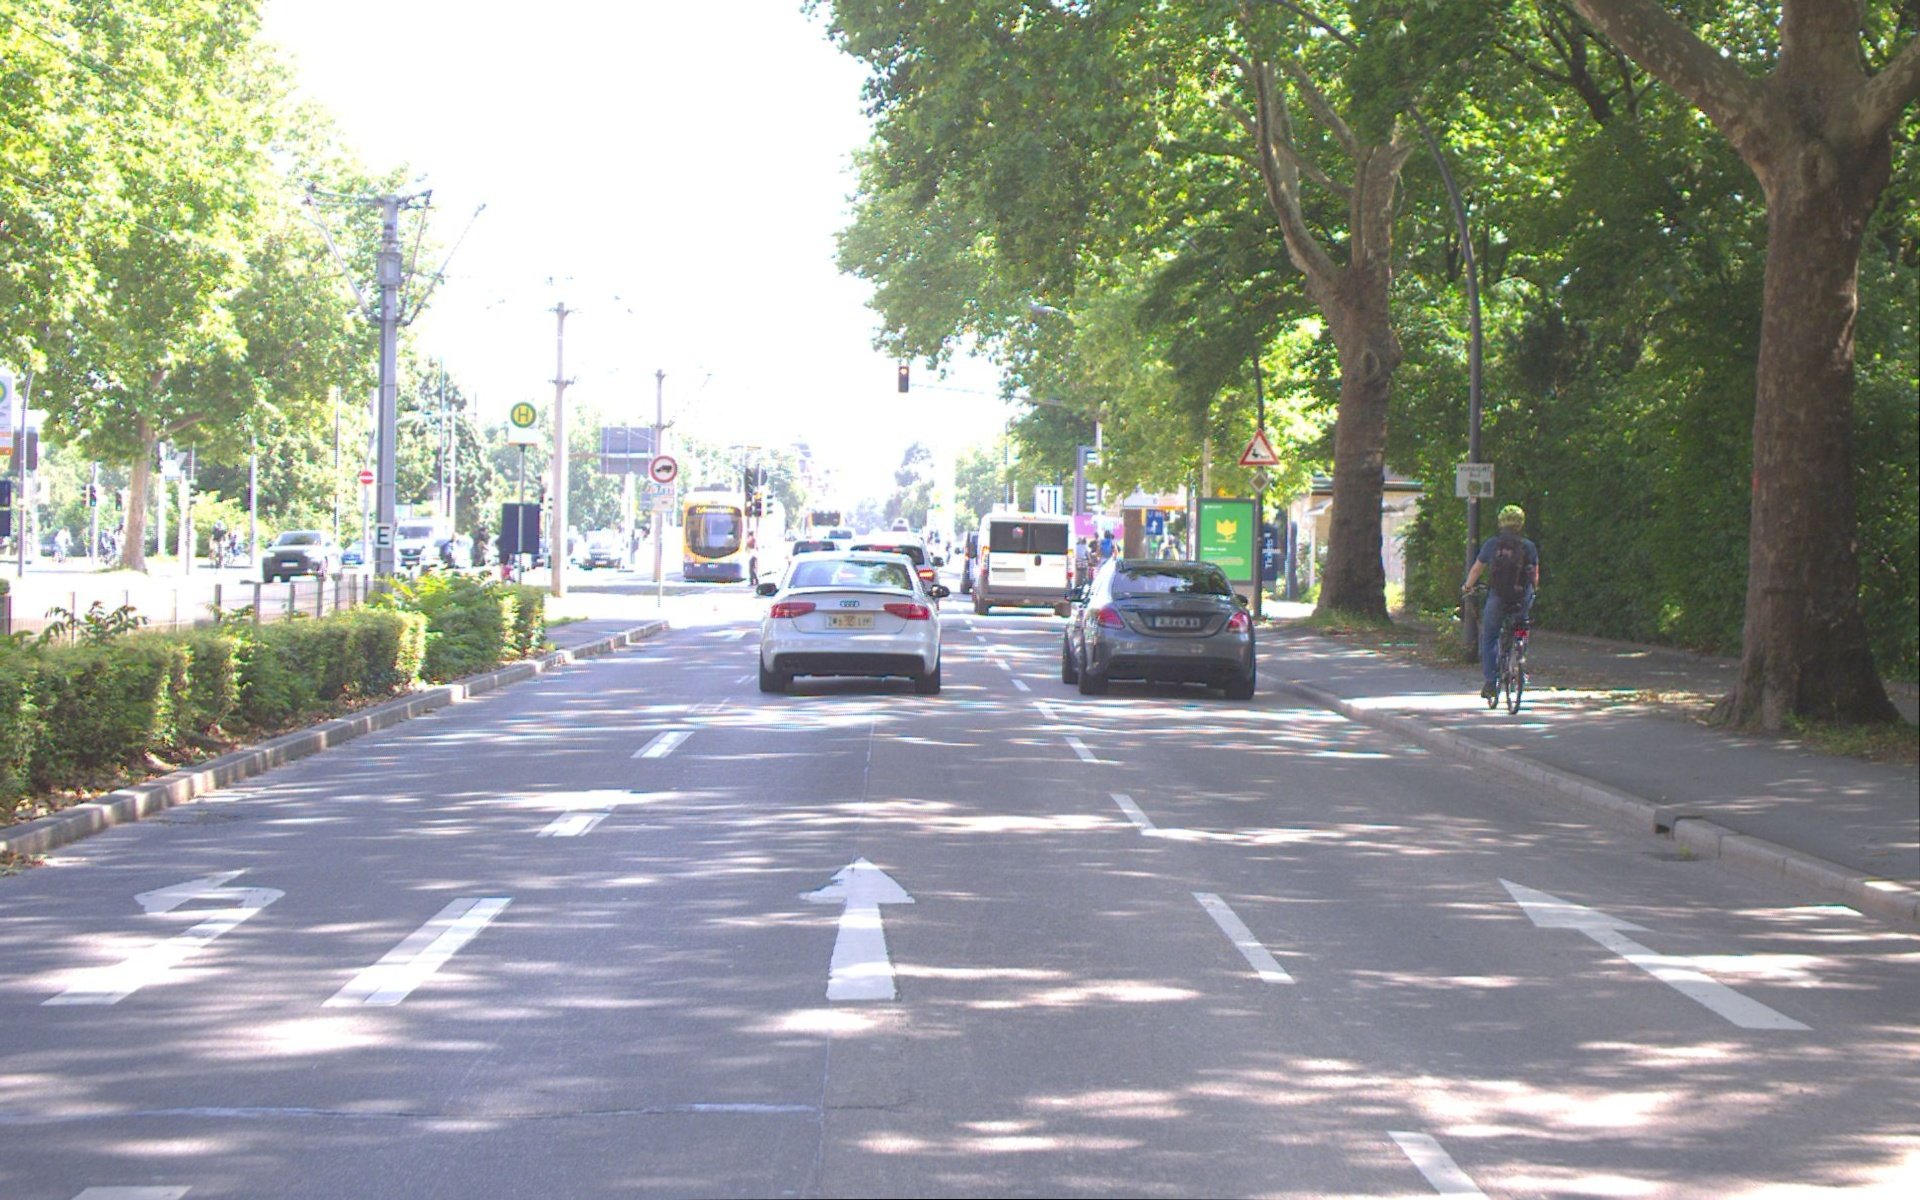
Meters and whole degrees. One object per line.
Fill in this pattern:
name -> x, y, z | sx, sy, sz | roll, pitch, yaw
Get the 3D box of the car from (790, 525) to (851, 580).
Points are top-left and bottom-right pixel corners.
car -> -4.292, -1.465, 106.213 | 1.729, 1.625, 4.000 | 1, 1, 0

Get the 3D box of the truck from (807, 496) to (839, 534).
truck -> -10.471, -6.479, 263.278 | 1.993, 2.780, 8.519 | 1, 1, 0

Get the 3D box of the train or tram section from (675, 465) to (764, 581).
train or tram section -> -8.699, -2.772, 124.968 | 2.616, 4.001, 7.749 | 1, 1, 0

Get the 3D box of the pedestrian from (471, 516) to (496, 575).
pedestrian -> -13.414, -1.544, 96.717 | 0.593, 1.641, 0.554 | 1, 1, 0

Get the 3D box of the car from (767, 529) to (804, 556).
car -> -10.652, -3.503, 210.125 | 1.871, 1.603, 4.000 | 2, 1, 2

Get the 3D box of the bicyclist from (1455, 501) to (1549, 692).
bicyclist -> 4.824, -0.045, 30.631 | 0.634, 1.642, 0.979 | -1, 2, -1

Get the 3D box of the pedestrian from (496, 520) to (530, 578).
pedestrian -> -13.431, -1.533, 103.323 | 0.775, 1.728, 0.754 | 2, 1, 8

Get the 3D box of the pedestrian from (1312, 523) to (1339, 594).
pedestrian -> 9.883, -1.124, 92.933 | 0.613, 1.890, 0.597 | 1, 1, -3

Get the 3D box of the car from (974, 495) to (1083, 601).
car -> 1.469, -1.148, 75.644 | 2.230, 2.204, 4.162 | 1, 1, 0

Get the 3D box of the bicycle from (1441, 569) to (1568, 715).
bicycle -> 4.843, 0.348, 30.695 | 0.714, 1.144, 2.179 | -1, 3, -1

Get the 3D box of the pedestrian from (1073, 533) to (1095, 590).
pedestrian -> 3.731, -1.168, 103.582 | 0.602, 1.689, 0.953 | -1, 1, 0

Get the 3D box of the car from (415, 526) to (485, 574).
car -> -17.593, -1.737, 118.769 | 1.810, 1.557, 4.305 | 1, 1, -1

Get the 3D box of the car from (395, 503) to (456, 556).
car -> -24.470, -3.219, 157.440 | 2.114, 2.374, 4.000 | 1, 1, 0

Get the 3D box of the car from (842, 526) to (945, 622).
car -> -1.156, -0.480, 60.828 | 1.729, 1.599, 3.885 | 1, 1, 0

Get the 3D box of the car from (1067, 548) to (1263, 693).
car -> 2.129, 0.175, 36.704 | 1.782, 1.415, 4.000 | 1, 1, 0

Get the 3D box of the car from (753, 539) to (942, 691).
car -> -1.103, 0.112, 35.030 | 1.784, 1.416, 3.885 | 1, 1, 0

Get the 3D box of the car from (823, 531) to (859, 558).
car -> -7.249, -3.408, 210.104 | 1.871, 1.603, 4.000 | 2, 1, 2

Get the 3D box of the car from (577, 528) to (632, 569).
car -> -15.816, -2.297, 152.963 | 1.993, 1.728, 4.000 | 2, 1, 0

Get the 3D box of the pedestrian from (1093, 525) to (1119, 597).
pedestrian -> 4.001, -1.079, 94.285 | 0.635, 1.939, 0.719 | 1, 1, 0

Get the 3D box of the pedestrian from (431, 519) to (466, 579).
pedestrian -> -13.804, -1.379, 92.786 | 0.757, 1.617, 0.595 | 1, 1, -26

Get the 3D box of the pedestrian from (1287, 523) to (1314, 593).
pedestrian -> 9.204, -1.135, 92.978 | 0.613, 1.890, 0.694 | 1, 1, -3

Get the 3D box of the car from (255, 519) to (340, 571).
car -> -21.413, -1.786, 111.222 | 1.830, 1.618, 4.897 | 1, 1, -1

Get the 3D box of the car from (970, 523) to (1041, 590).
car -> 1.393, -1.370, 107.458 | 2.072, 1.992, 4.058 | 1, 1, 0

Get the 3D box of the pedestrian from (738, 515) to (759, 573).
pedestrian -> -6.972, -1.843, 113.421 | 0.624, 1.911, 0.690 | 1, 1, 0

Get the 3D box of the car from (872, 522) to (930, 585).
car -> -1.806, -1.451, 106.574 | 1.729, 1.895, 4.000 | 1, 1, 0
